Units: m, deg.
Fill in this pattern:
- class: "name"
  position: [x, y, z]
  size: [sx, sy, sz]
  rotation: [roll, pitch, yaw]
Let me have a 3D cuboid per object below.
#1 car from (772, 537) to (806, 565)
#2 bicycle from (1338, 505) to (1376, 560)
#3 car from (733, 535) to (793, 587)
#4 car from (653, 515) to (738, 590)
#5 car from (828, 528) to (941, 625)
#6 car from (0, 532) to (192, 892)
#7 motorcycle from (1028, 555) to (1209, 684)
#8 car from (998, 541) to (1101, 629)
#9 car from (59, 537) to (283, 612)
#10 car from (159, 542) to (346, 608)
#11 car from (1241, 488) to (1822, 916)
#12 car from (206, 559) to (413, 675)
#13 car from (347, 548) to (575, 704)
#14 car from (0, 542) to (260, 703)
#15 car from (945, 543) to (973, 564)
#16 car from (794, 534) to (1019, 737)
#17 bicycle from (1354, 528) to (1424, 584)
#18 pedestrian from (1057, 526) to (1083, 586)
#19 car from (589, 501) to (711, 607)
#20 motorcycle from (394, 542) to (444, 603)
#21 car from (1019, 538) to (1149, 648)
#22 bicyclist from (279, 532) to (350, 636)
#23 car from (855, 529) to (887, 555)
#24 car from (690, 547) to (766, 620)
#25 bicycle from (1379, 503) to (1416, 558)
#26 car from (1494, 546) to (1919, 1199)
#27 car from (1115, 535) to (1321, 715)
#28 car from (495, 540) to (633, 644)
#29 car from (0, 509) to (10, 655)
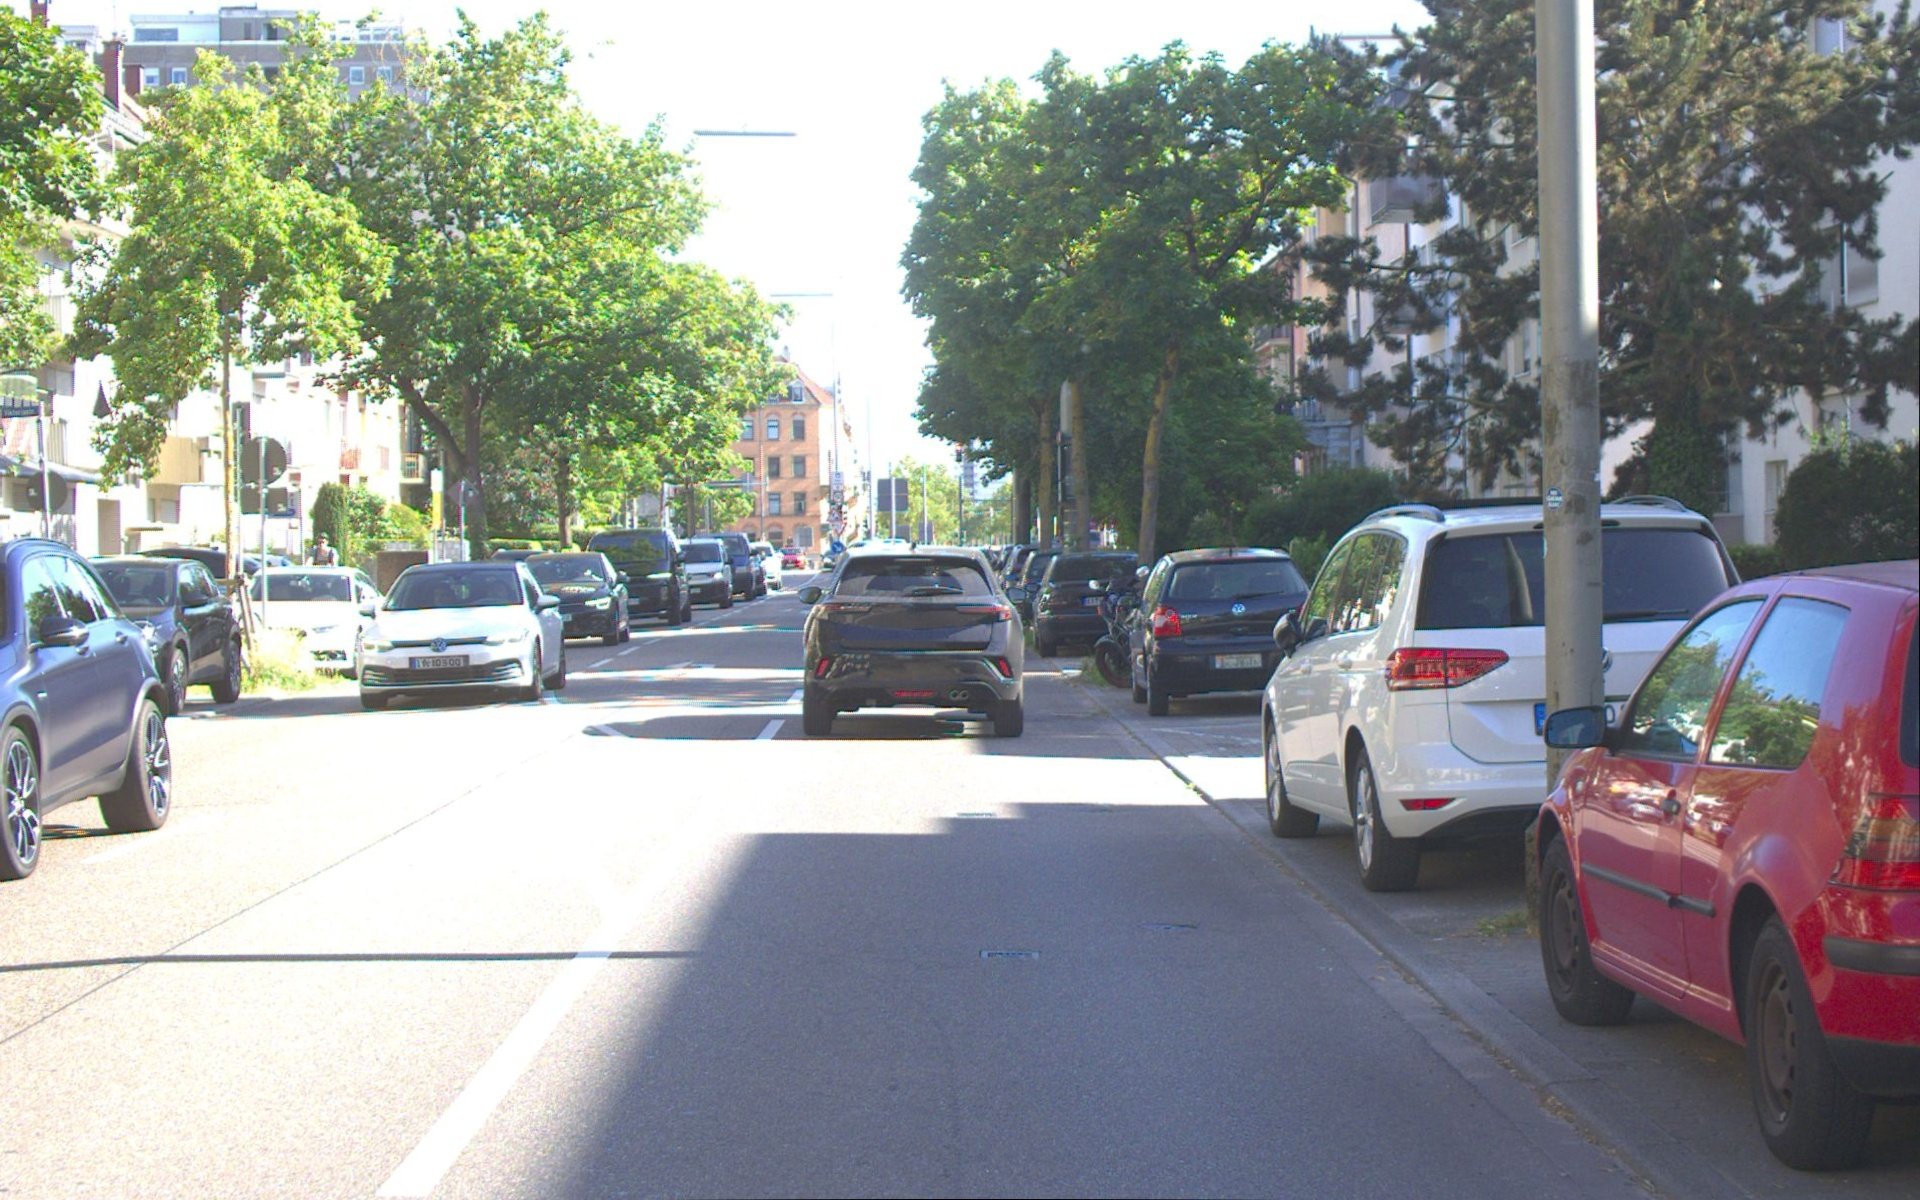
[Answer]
- class: "car"
  position: [-10.212, -2.958, 205.609]
  size: [1.791, 1.611, 4.000]
  rotation: [-1, 1, 0]
- class: "bicycle"
  position: [9.638, -1.632, 83.575]
  size: [0.623, 1.283, 1.842]
  rotation: [-4, 1, 0]
- class: "car"
  position: [-6.775, -1.356, 118.569]
  size: [1.806, 1.642, 4.673]
  rotation: [-3, 1, -1]
- class: "car"
  position: [-6.631, -1.212, 86.582]
  size: [1.815, 1.737, 4.493]
  rotation: [-3, 1, -1]
- class: "car"
  position: [-1.267, -0.427, 58.972]
  size: [1.830, 1.573, 3.839]
  rotation: [-1, 1, 0]
- class: "car"
  position: [-5.297, 0.509, 17.424]
  size: [1.836, 1.608, 4.401]
  rotation: [-3, 1, -1]
- class: "motorcycle"
  position: [1.630, 0.200, 35.863]
  size: [0.697, 1.267, 2.432]
  rotation: [-3, 1, -28]
- class: "car"
  position: [1.559, -0.286, 59.310]
  size: [1.692, 1.423, 4.147]
  rotation: [-1, 1, 2]
- class: "car"
  position: [-15.686, -0.518, 68.435]
  size: [3.988, 1.456, 1.732]
  rotation: [0, 1, 8]
- class: "car"
  position: [-16.479, -0.596, 80.215]
  size: [3.987, 1.481, 1.881]
  rotation: [0, 1, -1]
- class: "car"
  position: [2.478, 0.369, 15.986]
  size: [1.768, 1.653, 4.342]
  rotation: [-2, 1, -2]
- class: "car"
  position: [-8.328, 0.182, 44.393]
  size: [1.833, 1.384, 4.802]
  rotation: [0, 1, -1]
- class: "car"
  position: [-5.097, 0.221, 35.605]
  size: [1.733, 1.407, 4.192]
  rotation: [-3, 1, -1]
- class: "car"
  position: [-8.476, 0.184, 35.415]
  size: [1.678, 1.549, 4.008]
  rotation: [0, 1, 0]
- class: "car"
  position: [-0.062, -3.389, 250.184]
  size: [1.993, 1.514, 4.000]
  rotation: [1, 1, 1]
- class: "car"
  position: [-0.442, 0.250, 28.611]
  size: [1.745, 1.568, 3.558]
  rotation: [0, 1, -1]
- class: "bicycle"
  position: [10.210, -1.047, 81.812]
  size: [1.537, 1.218, 0.463]
  rotation: [-3, 1, 30]
- class: "pedestrian"
  position: [3.125, -1.262, 97.758]
  size: [0.669, 1.676, 0.776]
  rotation: [-1, 1, -1]
- class: "car"
  position: [-6.158, -0.941, 68.751]
  size: [2.016, 1.945, 5.179]
  rotation: [-3, 1, -2]
- class: "motorcycle"
  position: [-10.233, -0.521, 65.059]
  size: [0.461, 1.122, 1.717]
  rotation: [0, 2, 7]
- class: "car"
  position: [1.684, -0.134, 47.814]
  size: [1.586, 1.391, 4.454]
  rotation: [-3, 1, 0]
- class: "bicyclist"
  position: [-11.483, -0.287, 61.139]
  size: [1.053, 1.818, 0.659]
  rotation: [-1, 1, 37]
- class: "car"
  position: [-5.224, -3.422, 202.361]
  size: [1.771, 1.447, 3.886]
  rotation: [-1, 1, -1]
- class: "car"
  position: [-6.565, -0.497, 97.692]
  size: [1.803, 1.904, 4.712]
  rotation: [-3, 1, -1]
- class: "bicycle"
  position: [10.598, -1.676, 83.355]
  size: [0.591, 1.283, 1.689]
  rotation: [-4, 1, 0]
- class: "car"
  position: [2.571, 0.600, 9.272]
  size: [1.531, 1.444, 3.718]
  rotation: [-2, 1, -2]
- class: "car"
  position: [2.316, 0.182, 31.568]
  size: [1.620, 1.494, 3.649]
  rotation: [-2, 1, 1]
- class: "car"
  position: [-6.129, -0.160, 53.541]
  size: [1.691, 1.448, 4.174]
  rotation: [-3, 1, -1]
- class: "car"
  position: [-14.580, -0.226, 44.136]
  size: [4.314, 1.872, 1.880]
  rotation: [-1, 2, -26]
